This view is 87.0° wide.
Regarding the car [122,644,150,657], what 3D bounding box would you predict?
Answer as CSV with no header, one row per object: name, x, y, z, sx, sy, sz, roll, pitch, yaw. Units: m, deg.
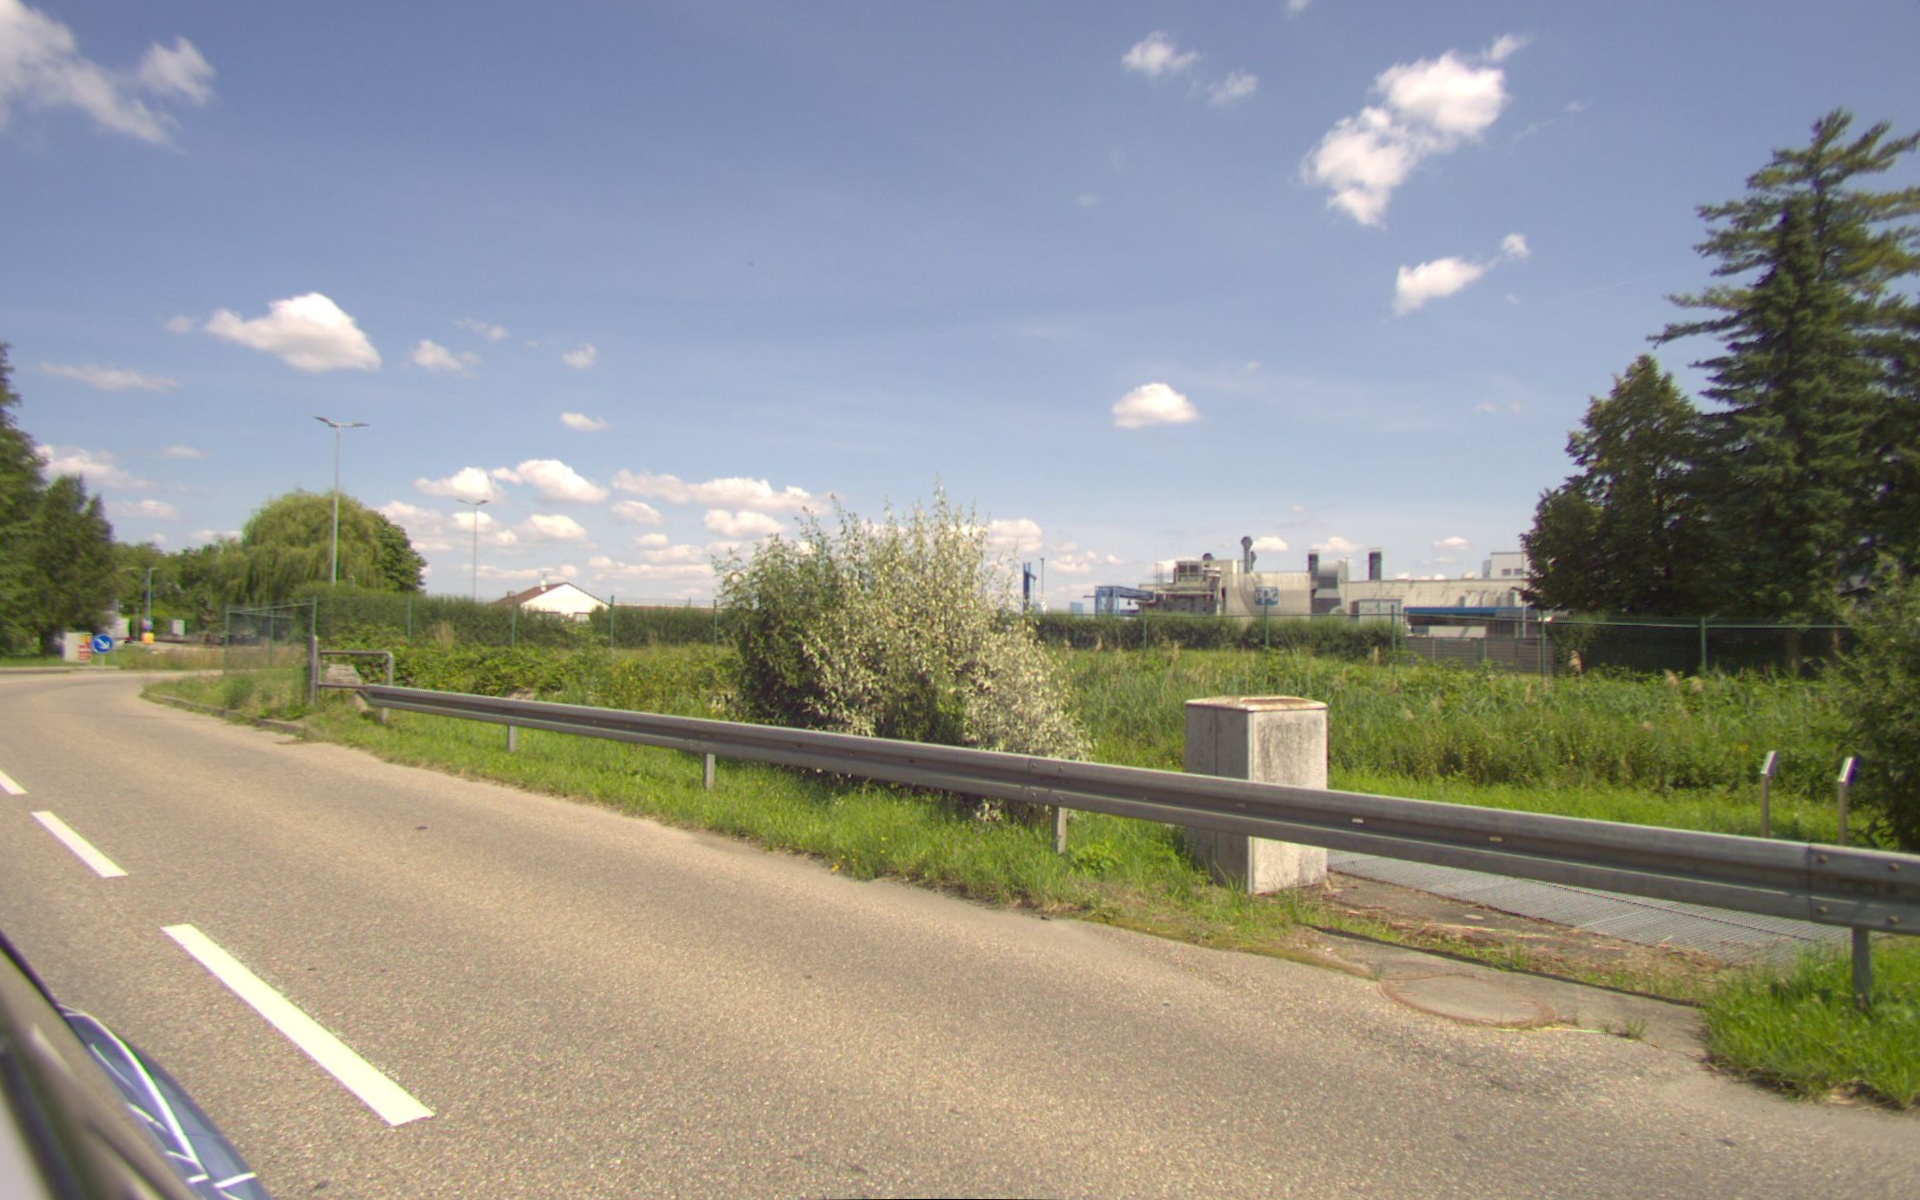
car,-98.620,6.008,121.102,4.385,1.475,1.860,-2,-5,42
